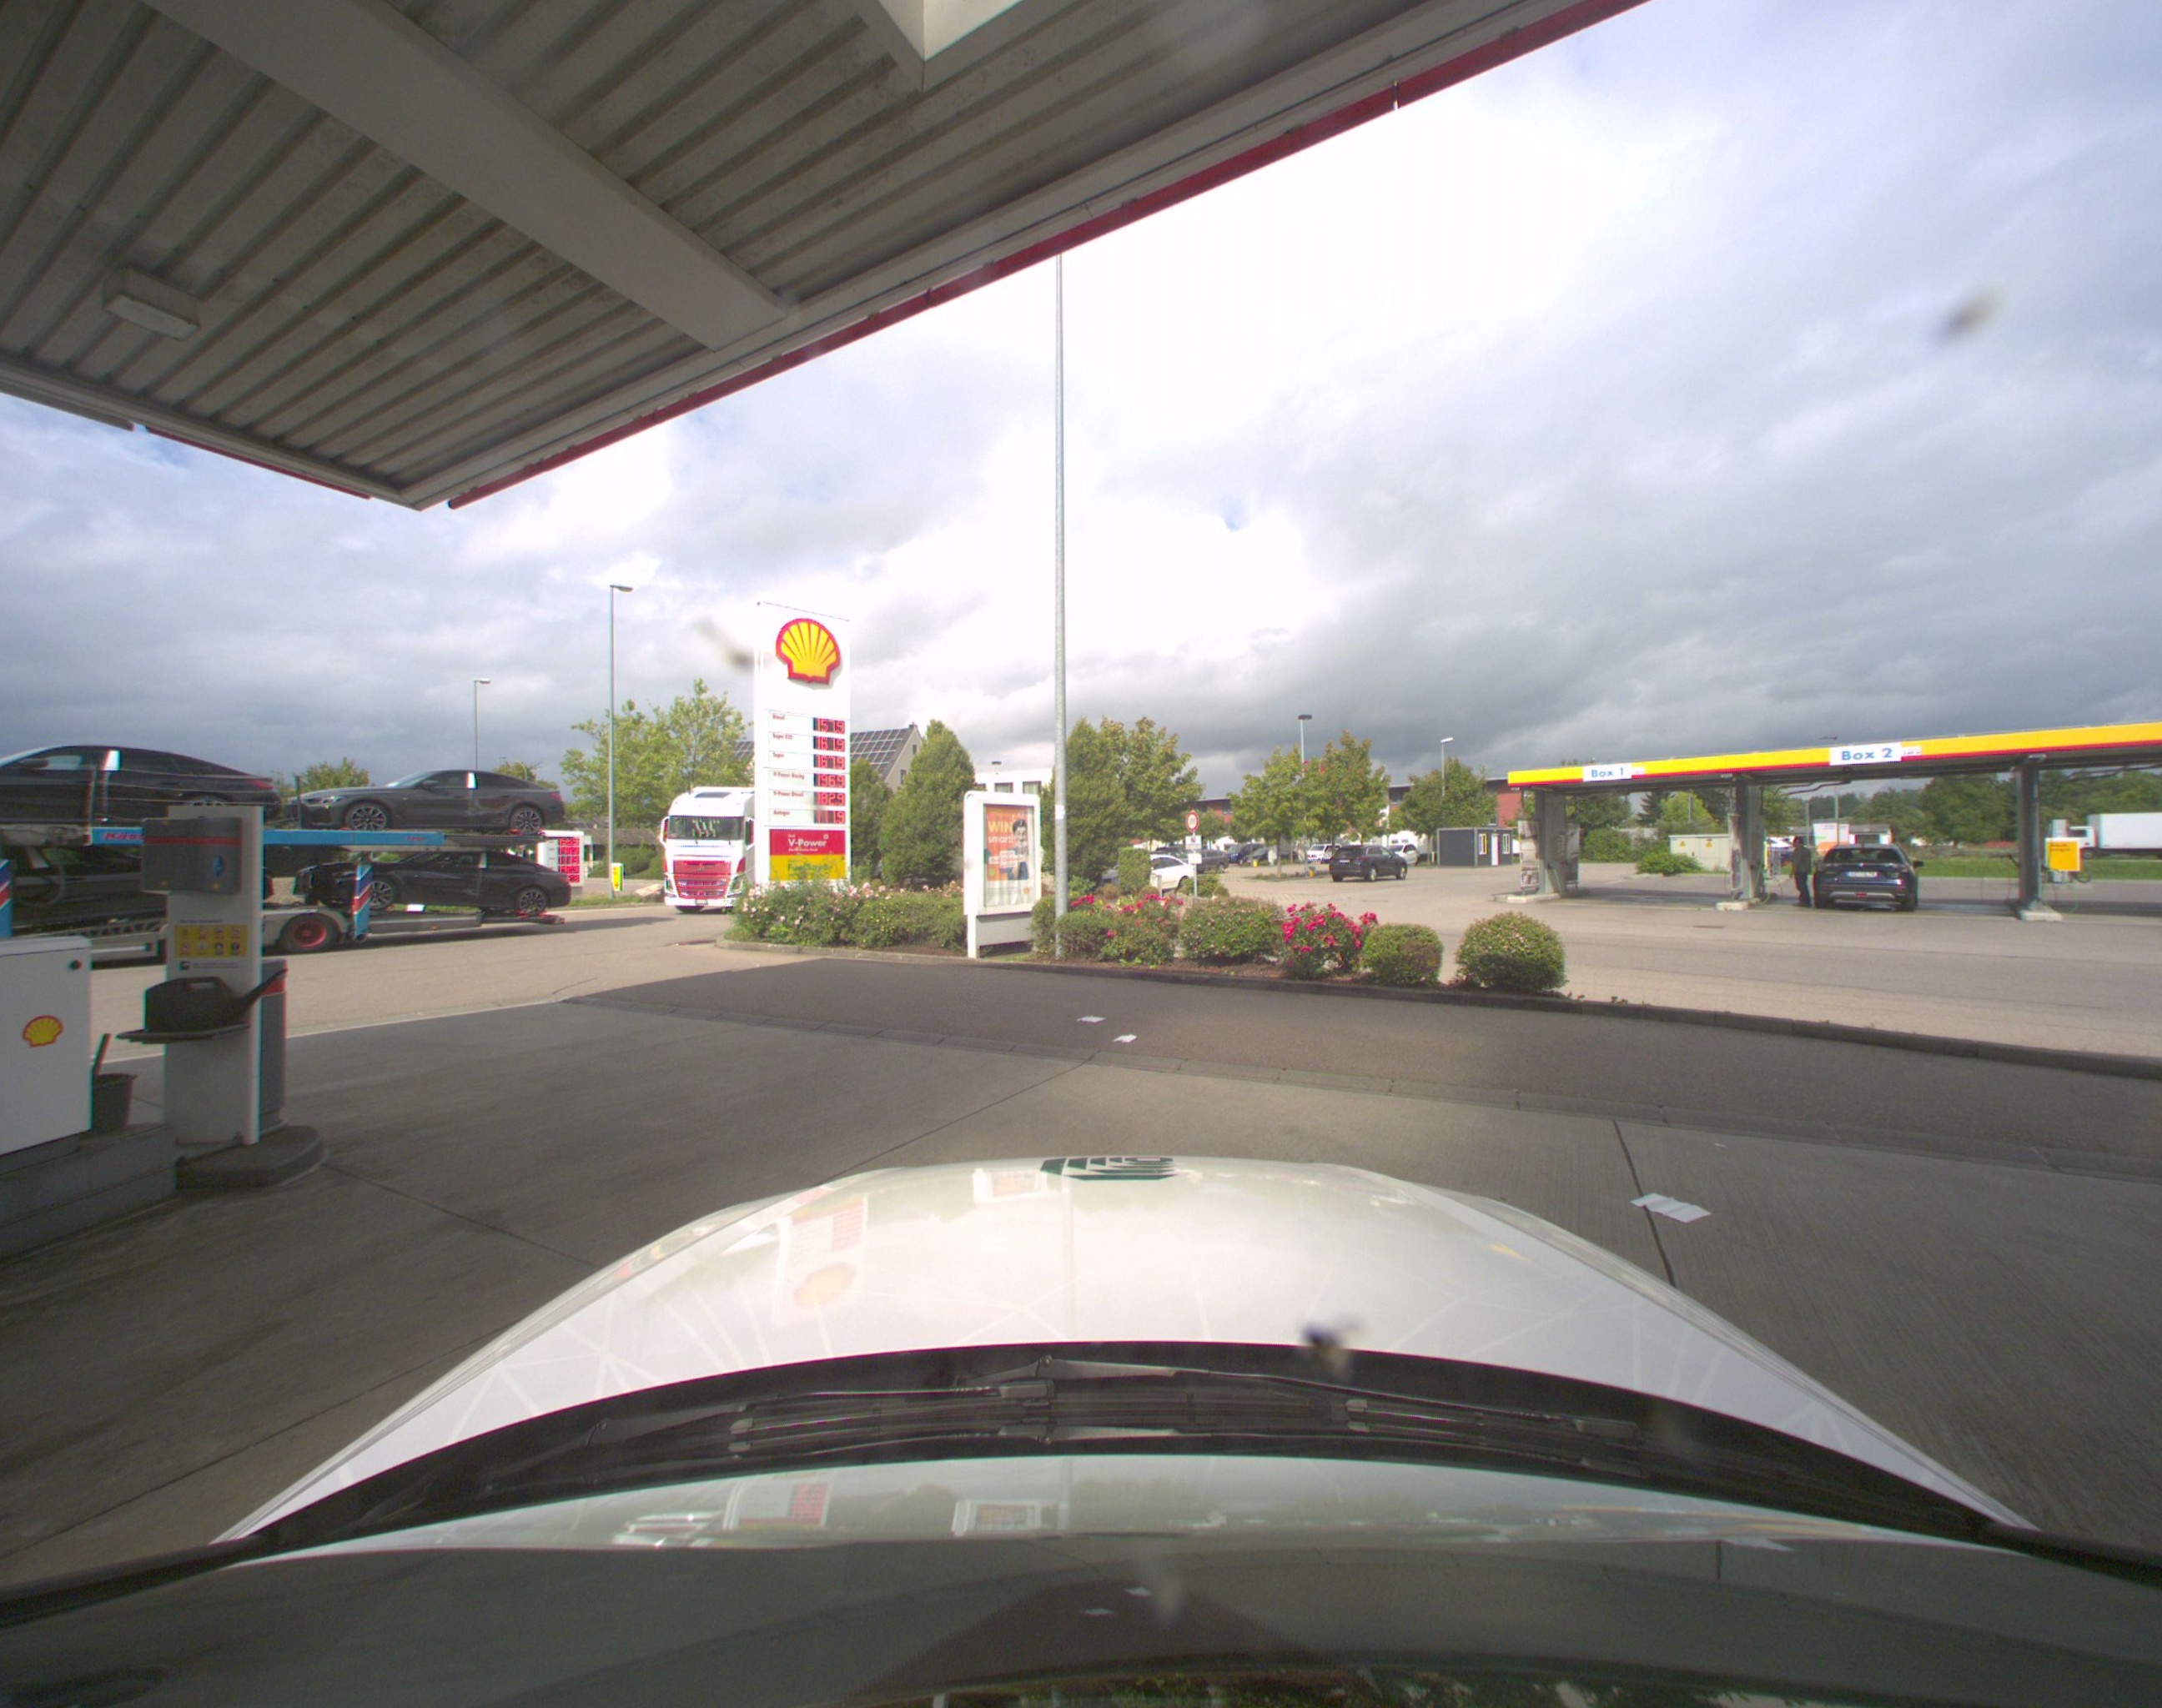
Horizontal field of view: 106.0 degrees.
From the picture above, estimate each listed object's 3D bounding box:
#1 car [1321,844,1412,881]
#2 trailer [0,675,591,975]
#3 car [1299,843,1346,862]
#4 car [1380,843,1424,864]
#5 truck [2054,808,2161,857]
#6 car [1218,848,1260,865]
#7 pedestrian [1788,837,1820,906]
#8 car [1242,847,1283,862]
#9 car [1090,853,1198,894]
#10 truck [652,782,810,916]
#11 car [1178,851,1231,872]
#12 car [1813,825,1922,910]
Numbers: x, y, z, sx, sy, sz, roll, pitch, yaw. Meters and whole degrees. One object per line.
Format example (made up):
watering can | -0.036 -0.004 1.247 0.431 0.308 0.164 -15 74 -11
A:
car | 12.869 0.377 36.572 4.527 1.548 1.864 0 -1 -41
trailer | -16.440 -0.413 13.675 2.711 4.423 14.450 -1 -1 31
car | 23.864 -0.115 80.261 4.903 1.833 2.159 0 -1 -41
car | 20.600 -0.042 52.208 3.120 1.307 1.352 0 -1 -42
truck | 78.223 -1.550 60.004 7.989 3.534 2.714 -1 -1 41
car | 12.941 0.187 66.652 3.407 1.320 1.726 0 -1 -42
pedestrian | 18.256 0.441 20.570 0.551 1.722 0.531 -1 -1 38
car | 14.484 0.040 64.868 3.437 1.179 1.468 0 -1 -42
car | 2.387 0.685 30.012 4.368 1.404 1.354 0 -1 -42
truck | -11.111 -0.125 26.555 2.725 3.846 5.914 0 -1 -2
car | 7.532 0.452 49.697 3.245 1.228 1.488 0 -1 -42
car | 19.432 0.318 20.068 3.828 1.897 1.703 0 -1 -43
